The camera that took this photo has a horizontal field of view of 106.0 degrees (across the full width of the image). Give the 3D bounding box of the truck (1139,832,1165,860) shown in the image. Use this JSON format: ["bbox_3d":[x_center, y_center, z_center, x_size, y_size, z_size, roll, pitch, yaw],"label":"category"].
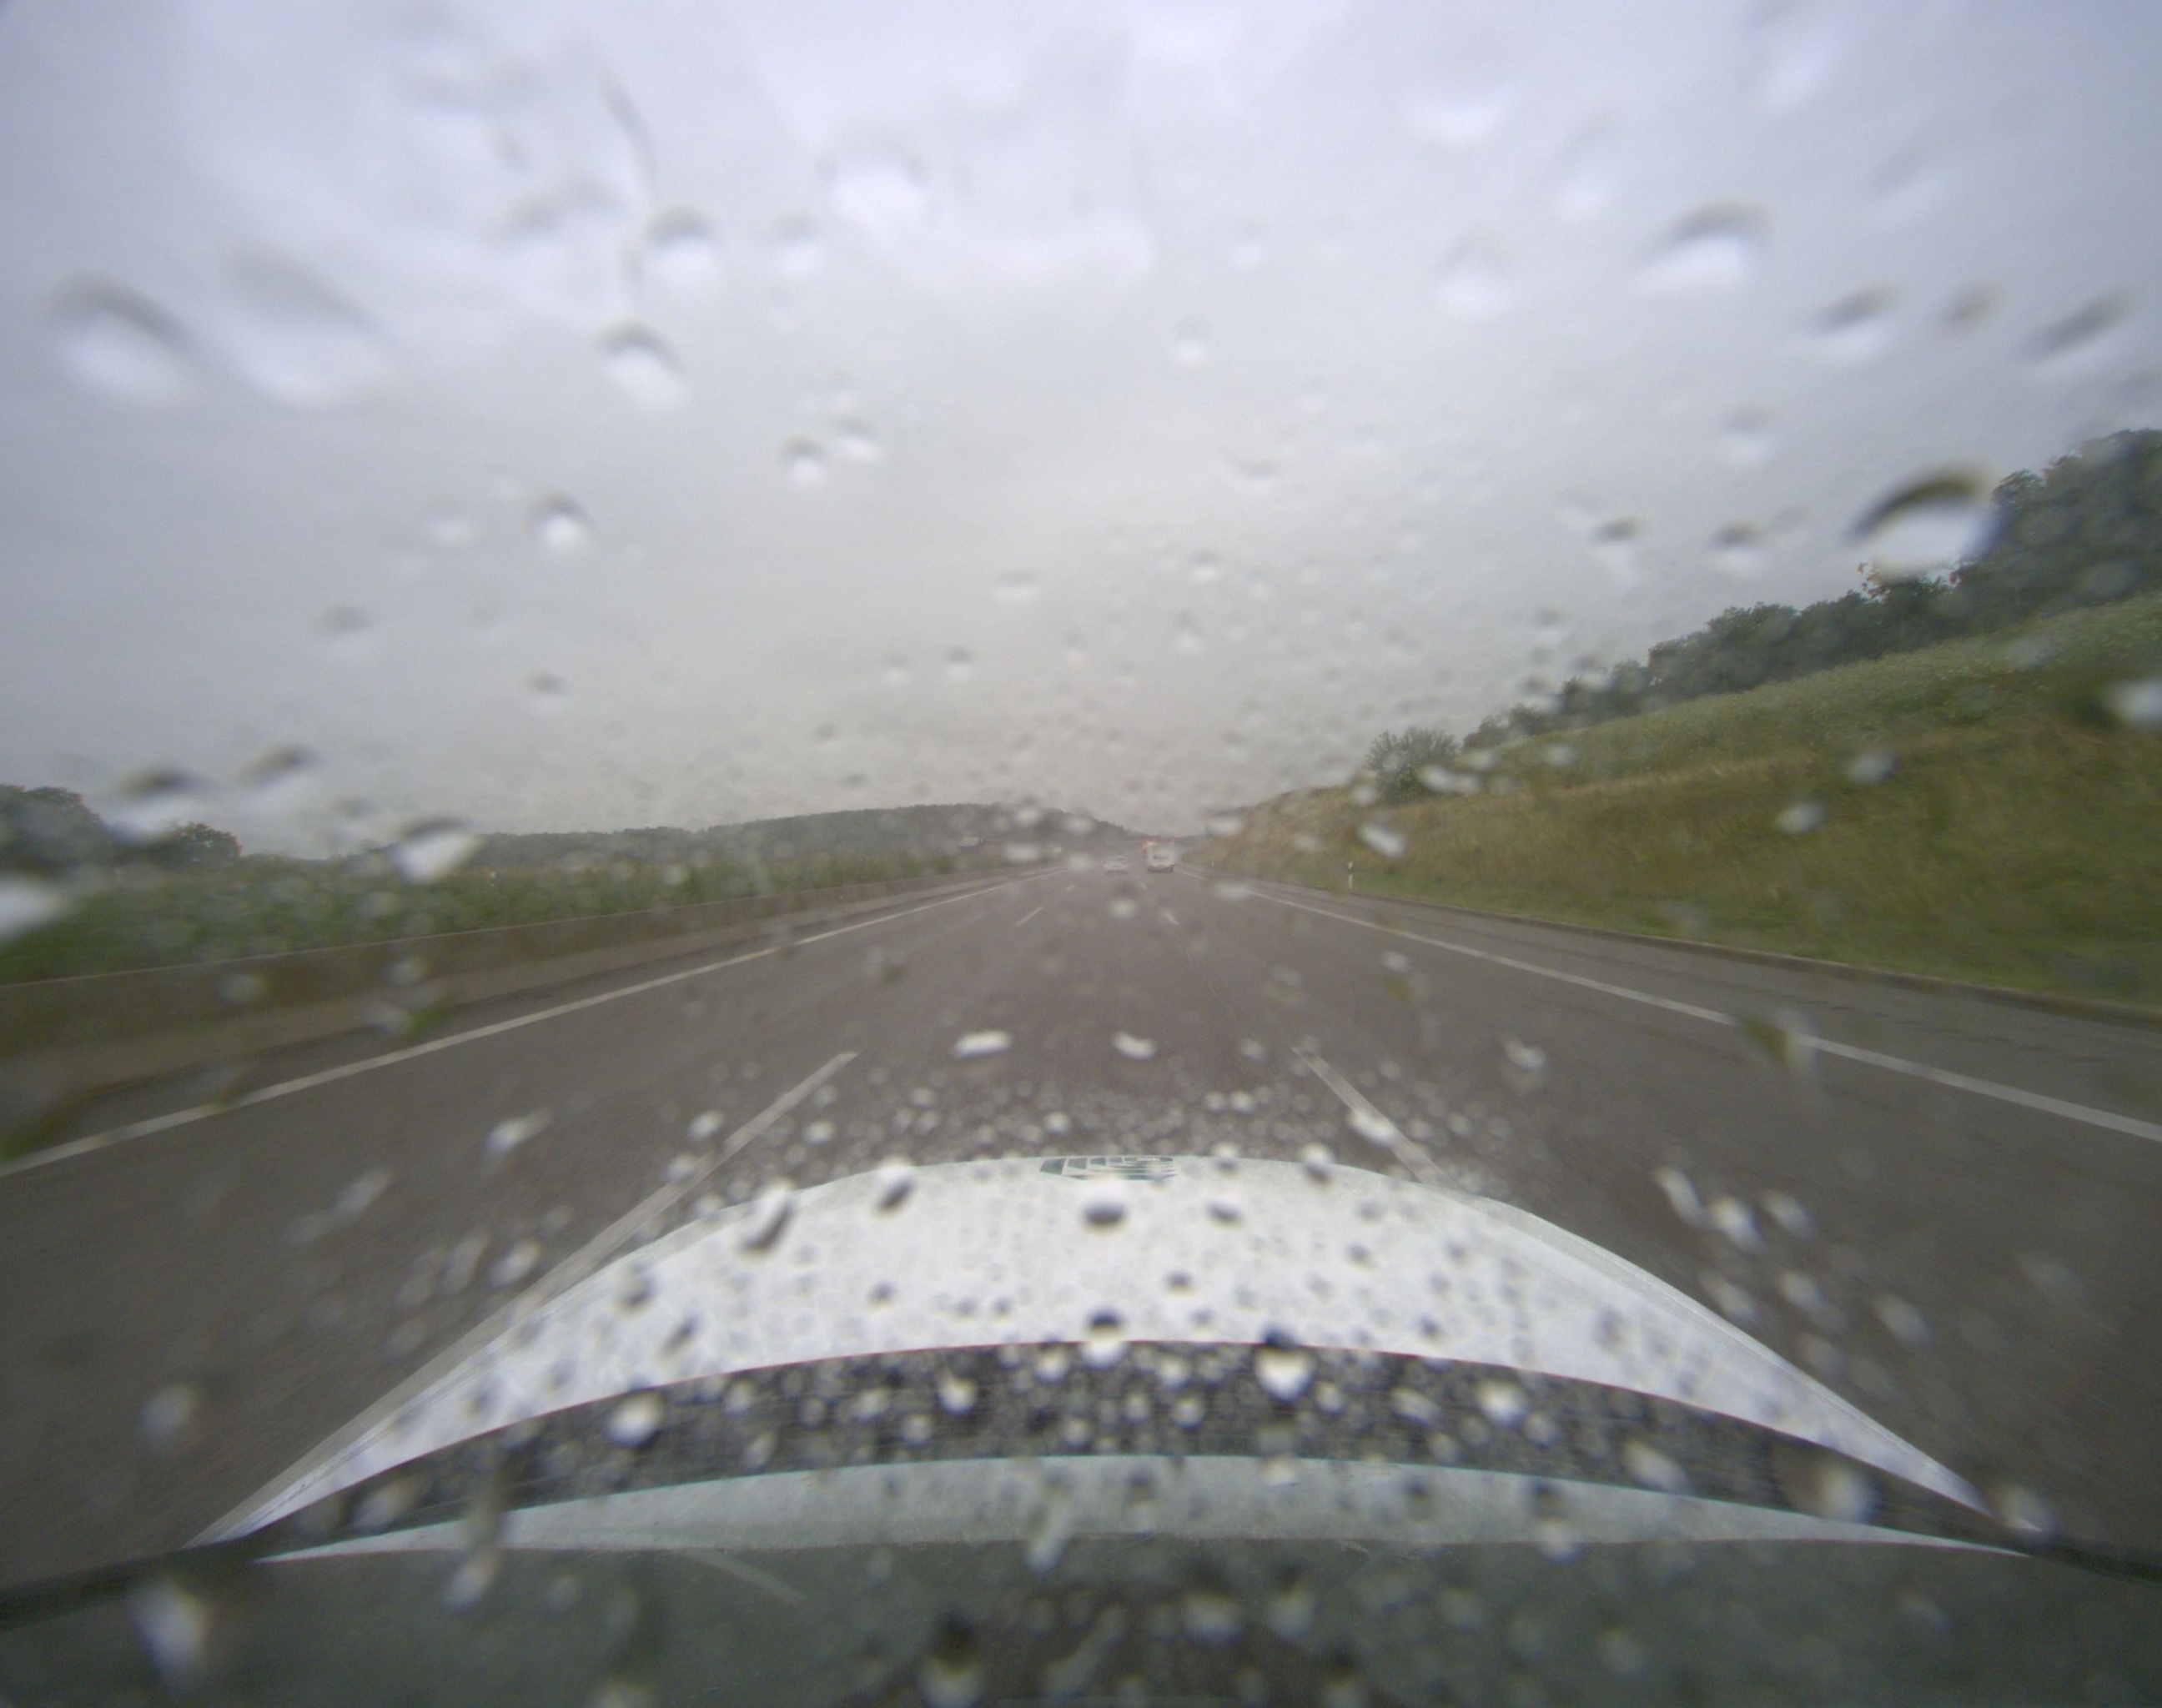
[{"bbox_3d":[10.229,-1.187,117.665,3.511,3.742,11.440,-1,1,4],"label":"truck"}]

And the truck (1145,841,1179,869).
[{"bbox_3d":[6.839,0.061,69.123,2.399,2.252,4.693,-1,0,1],"label":"truck"}]

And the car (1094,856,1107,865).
[{"bbox_3d":[2.969,0.976,121.918,1.817,1.156,4.214,-1,-1,2],"label":"car"}]

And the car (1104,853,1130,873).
[{"bbox_3d":[2.716,0.675,61.567,1.861,1.463,4.001,-1,-1,2],"label":"car"}]
